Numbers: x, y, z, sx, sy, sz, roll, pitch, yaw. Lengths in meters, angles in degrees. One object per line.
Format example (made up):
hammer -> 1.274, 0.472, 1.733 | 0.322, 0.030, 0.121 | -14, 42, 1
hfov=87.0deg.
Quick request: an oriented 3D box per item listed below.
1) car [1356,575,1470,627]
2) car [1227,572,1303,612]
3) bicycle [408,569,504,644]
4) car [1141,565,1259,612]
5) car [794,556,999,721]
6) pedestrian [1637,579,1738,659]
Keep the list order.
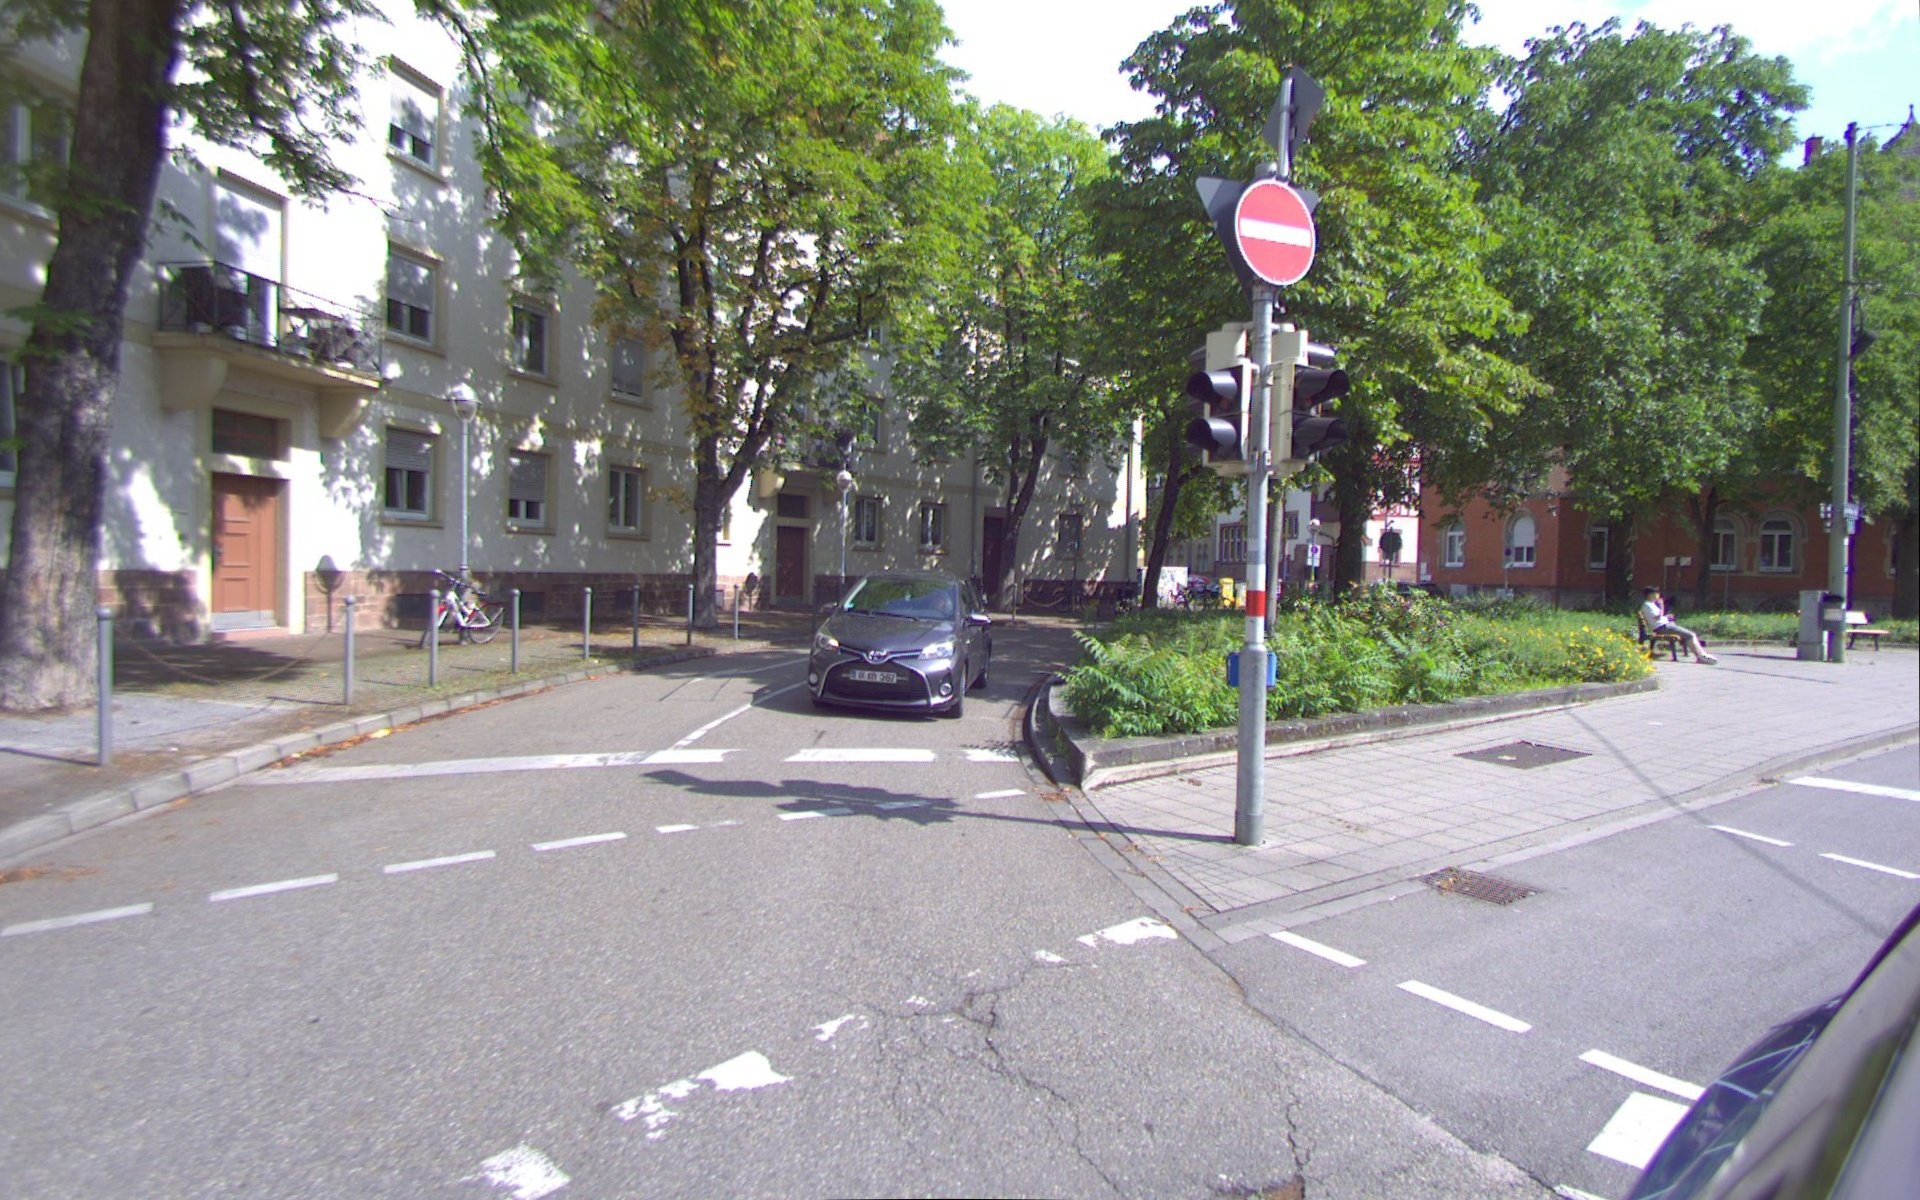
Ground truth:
car -> 21.990, 0.000, 49.437 | 2.236, 2.297, 5.246 | 1, 2, -14
car -> 18.948, -0.570, 63.117 | 2.236, 2.297, 5.245 | 1, 2, -11
bicycle -> -7.379, 0.071, 14.882 | 0.298, 1.022, 1.469 | 5, 3, 16
car -> 8.585, -0.410, 36.466 | 1.621, 1.571, 3.996 | 0, 0, -39
car -> -0.558, 0.306, 11.668 | 1.603, 1.509, 3.724 | 3, 2, 8
pedestrian -> 12.496, 0.307, 17.388 | 0.891, 1.216, 1.159 | 0, 5, -41
